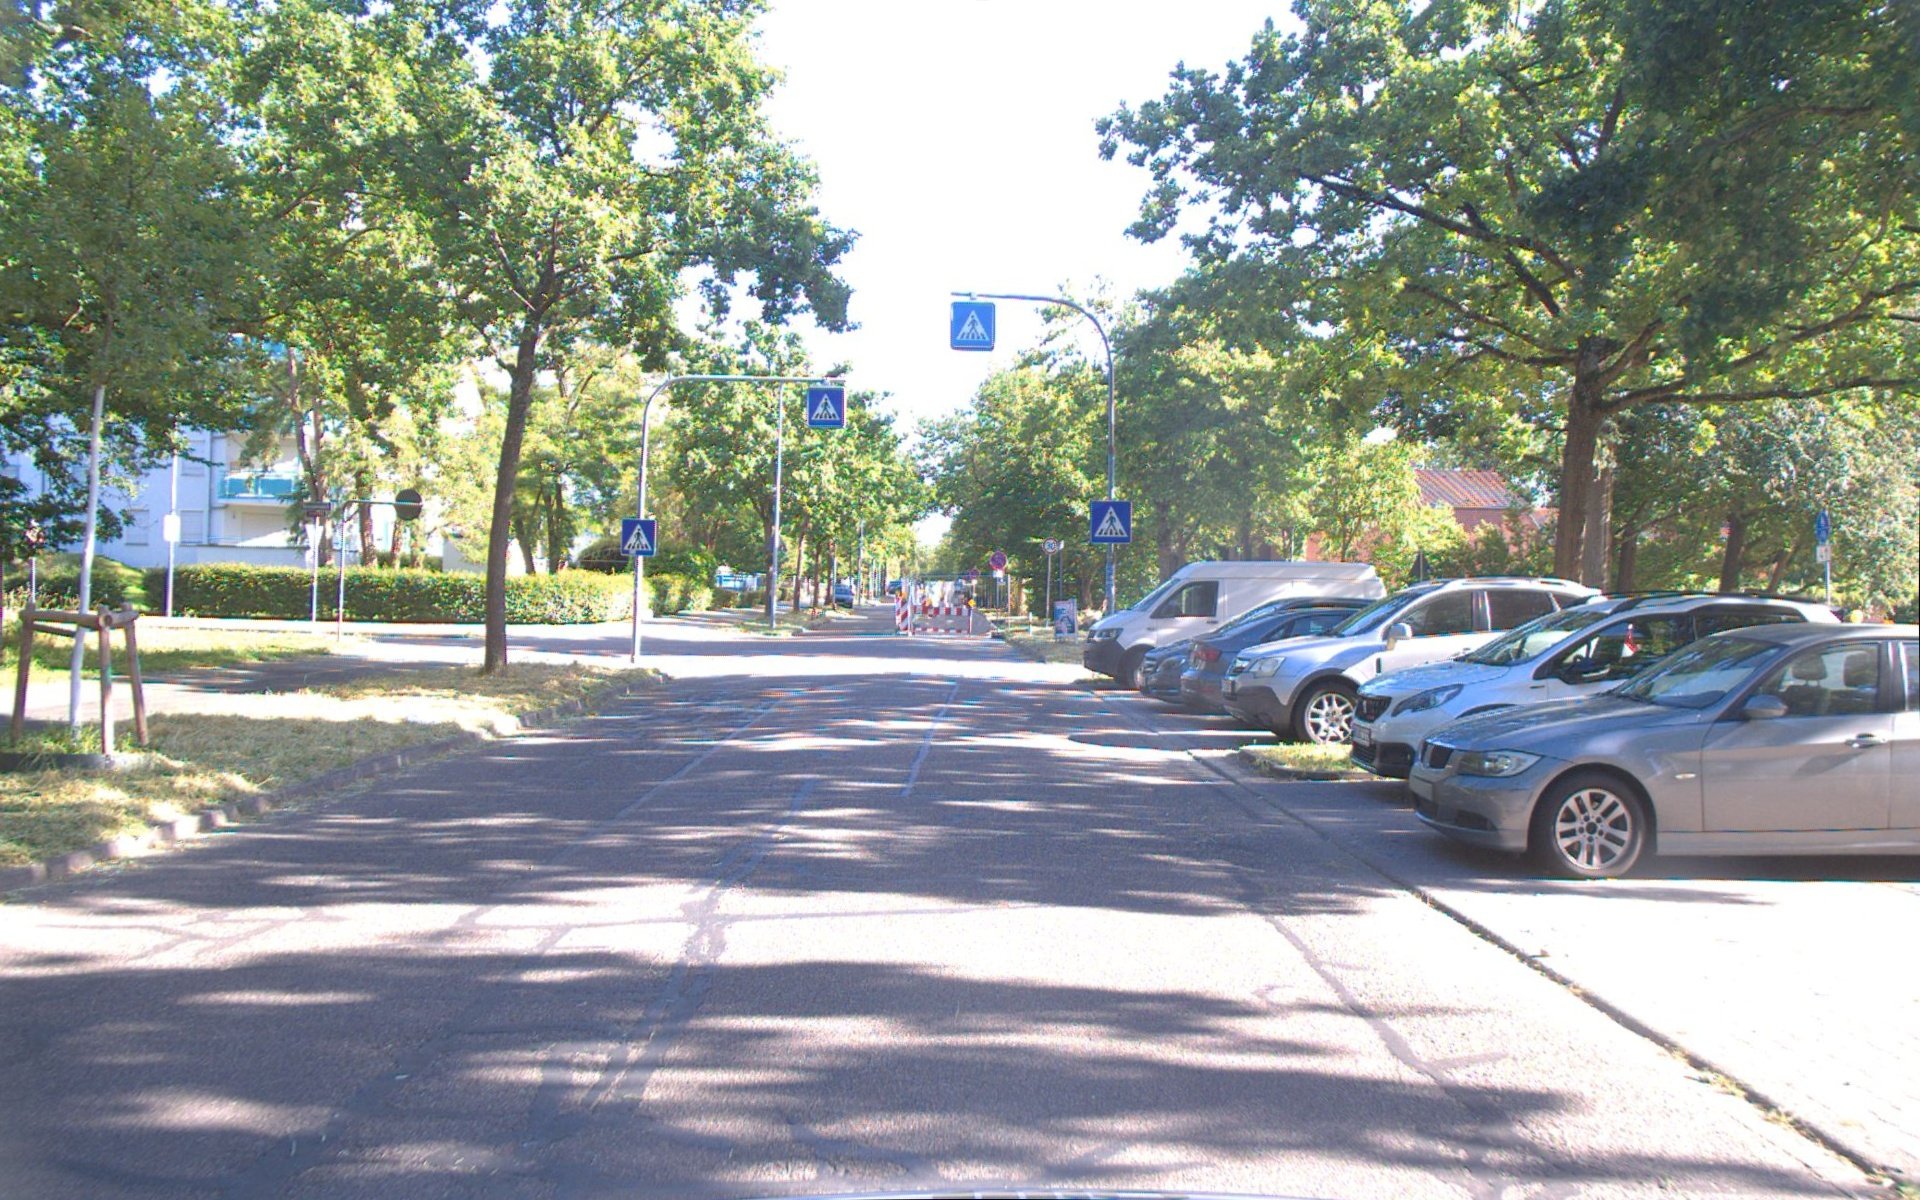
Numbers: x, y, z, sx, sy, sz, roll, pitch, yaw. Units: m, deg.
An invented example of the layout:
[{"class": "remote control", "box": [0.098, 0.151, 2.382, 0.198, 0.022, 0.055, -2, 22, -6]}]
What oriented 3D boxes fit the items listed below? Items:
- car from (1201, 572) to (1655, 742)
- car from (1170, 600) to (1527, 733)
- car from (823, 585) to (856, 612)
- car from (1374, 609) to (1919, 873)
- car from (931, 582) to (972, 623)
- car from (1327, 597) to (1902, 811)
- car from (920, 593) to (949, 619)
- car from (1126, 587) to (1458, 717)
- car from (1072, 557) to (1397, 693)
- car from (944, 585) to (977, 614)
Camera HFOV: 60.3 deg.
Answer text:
[{"class": "car", "box": [4.885, 0.568, 17.644, 4.296, 1.680, 1.850, 0, 0, -3]}, {"class": "car", "box": [4.641, 0.771, 20.191, 3.905, 1.458, 1.901, 1, 0, 0]}, {"class": "car", "box": [-8.057, -0.088, 110.698, 1.953, 1.746, 3.999, 2, 0, -2]}, {"class": "car", "box": [4.938, 0.789, 10.056, 4.355, 1.414, 1.910, 0, 0, -1]}, {"class": "car", "box": [-0.448, 0.142, 83.987, 1.953, 1.966, 3.999, 2, 0, -2]}, {"class": "car", "box": [4.995, 0.756, 12.978, 3.806, 1.523, 1.776, 0, 0, -2]}, {"class": "car", "box": [-1.878, 0.429, 120.355, 1.953, 1.746, 3.999, 2, 0, -2]}, {"class": "car", "box": [4.498, 0.689, 22.841, 4.128, 1.596, 1.932, 2, 0, -3]}, {"class": "car", "box": [4.554, 0.418, 27.936, 5.083, 2.142, 2.081, 1, 0, -3]}, {"class": "car", "box": [0.009, -0.049, 104.644, 1.953, 1.746, 3.999, 2, 0, -2]}]
